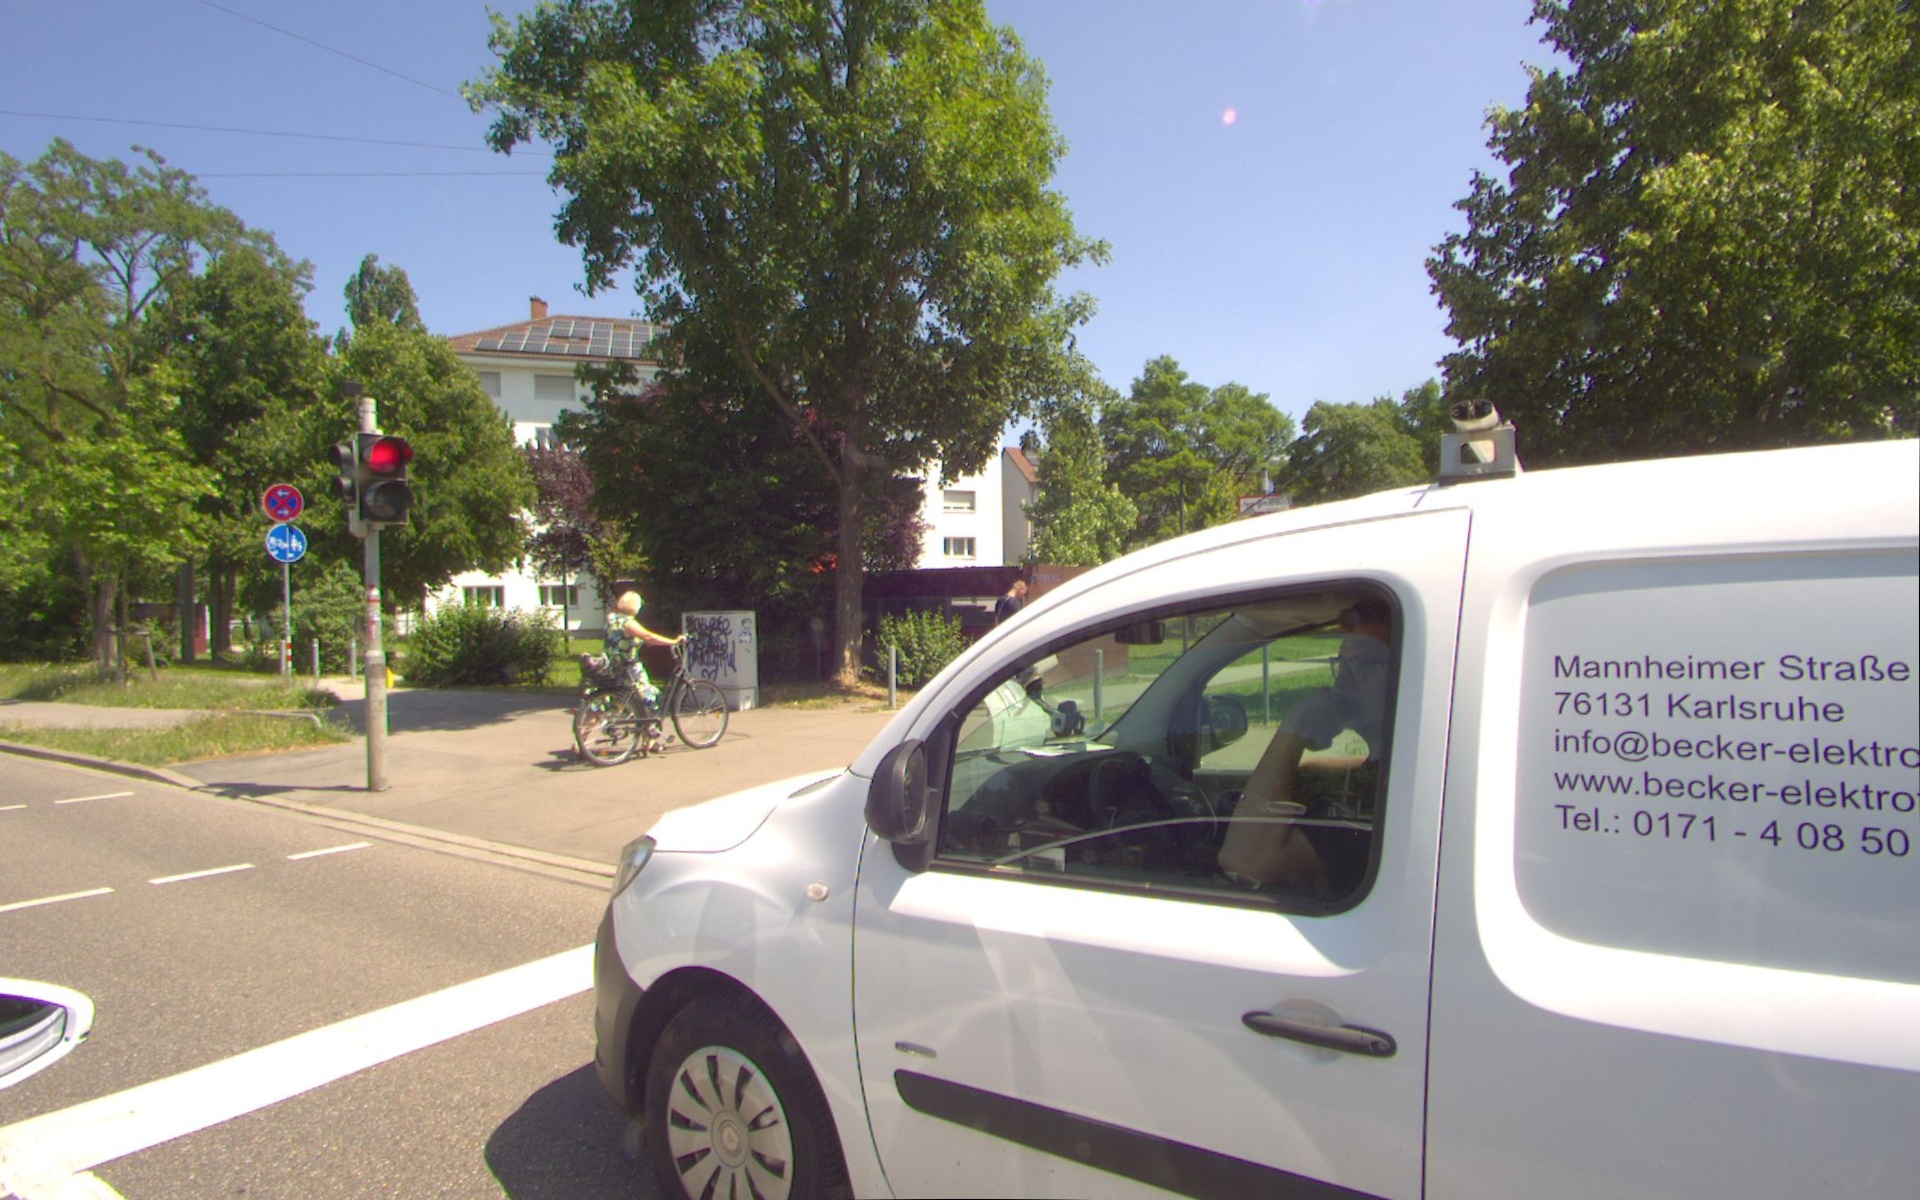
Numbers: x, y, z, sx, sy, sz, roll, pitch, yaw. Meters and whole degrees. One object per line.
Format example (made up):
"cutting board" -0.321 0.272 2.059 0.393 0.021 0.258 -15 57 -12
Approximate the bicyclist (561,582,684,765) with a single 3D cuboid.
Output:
"bicyclist" -3.342 0.686 9.953 0.573 1.690 0.952 1 4 39

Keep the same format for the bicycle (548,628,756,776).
"bicycle" -2.962 0.937 9.840 0.534 1.177 1.948 1 3 39

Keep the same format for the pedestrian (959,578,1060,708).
"pedestrian" 0.728 0.605 14.621 1.175 1.801 0.833 -3 1 -40

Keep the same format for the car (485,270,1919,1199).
"car" 1.126 0.566 2.302 4.384 1.850 1.990 -1 0 32
